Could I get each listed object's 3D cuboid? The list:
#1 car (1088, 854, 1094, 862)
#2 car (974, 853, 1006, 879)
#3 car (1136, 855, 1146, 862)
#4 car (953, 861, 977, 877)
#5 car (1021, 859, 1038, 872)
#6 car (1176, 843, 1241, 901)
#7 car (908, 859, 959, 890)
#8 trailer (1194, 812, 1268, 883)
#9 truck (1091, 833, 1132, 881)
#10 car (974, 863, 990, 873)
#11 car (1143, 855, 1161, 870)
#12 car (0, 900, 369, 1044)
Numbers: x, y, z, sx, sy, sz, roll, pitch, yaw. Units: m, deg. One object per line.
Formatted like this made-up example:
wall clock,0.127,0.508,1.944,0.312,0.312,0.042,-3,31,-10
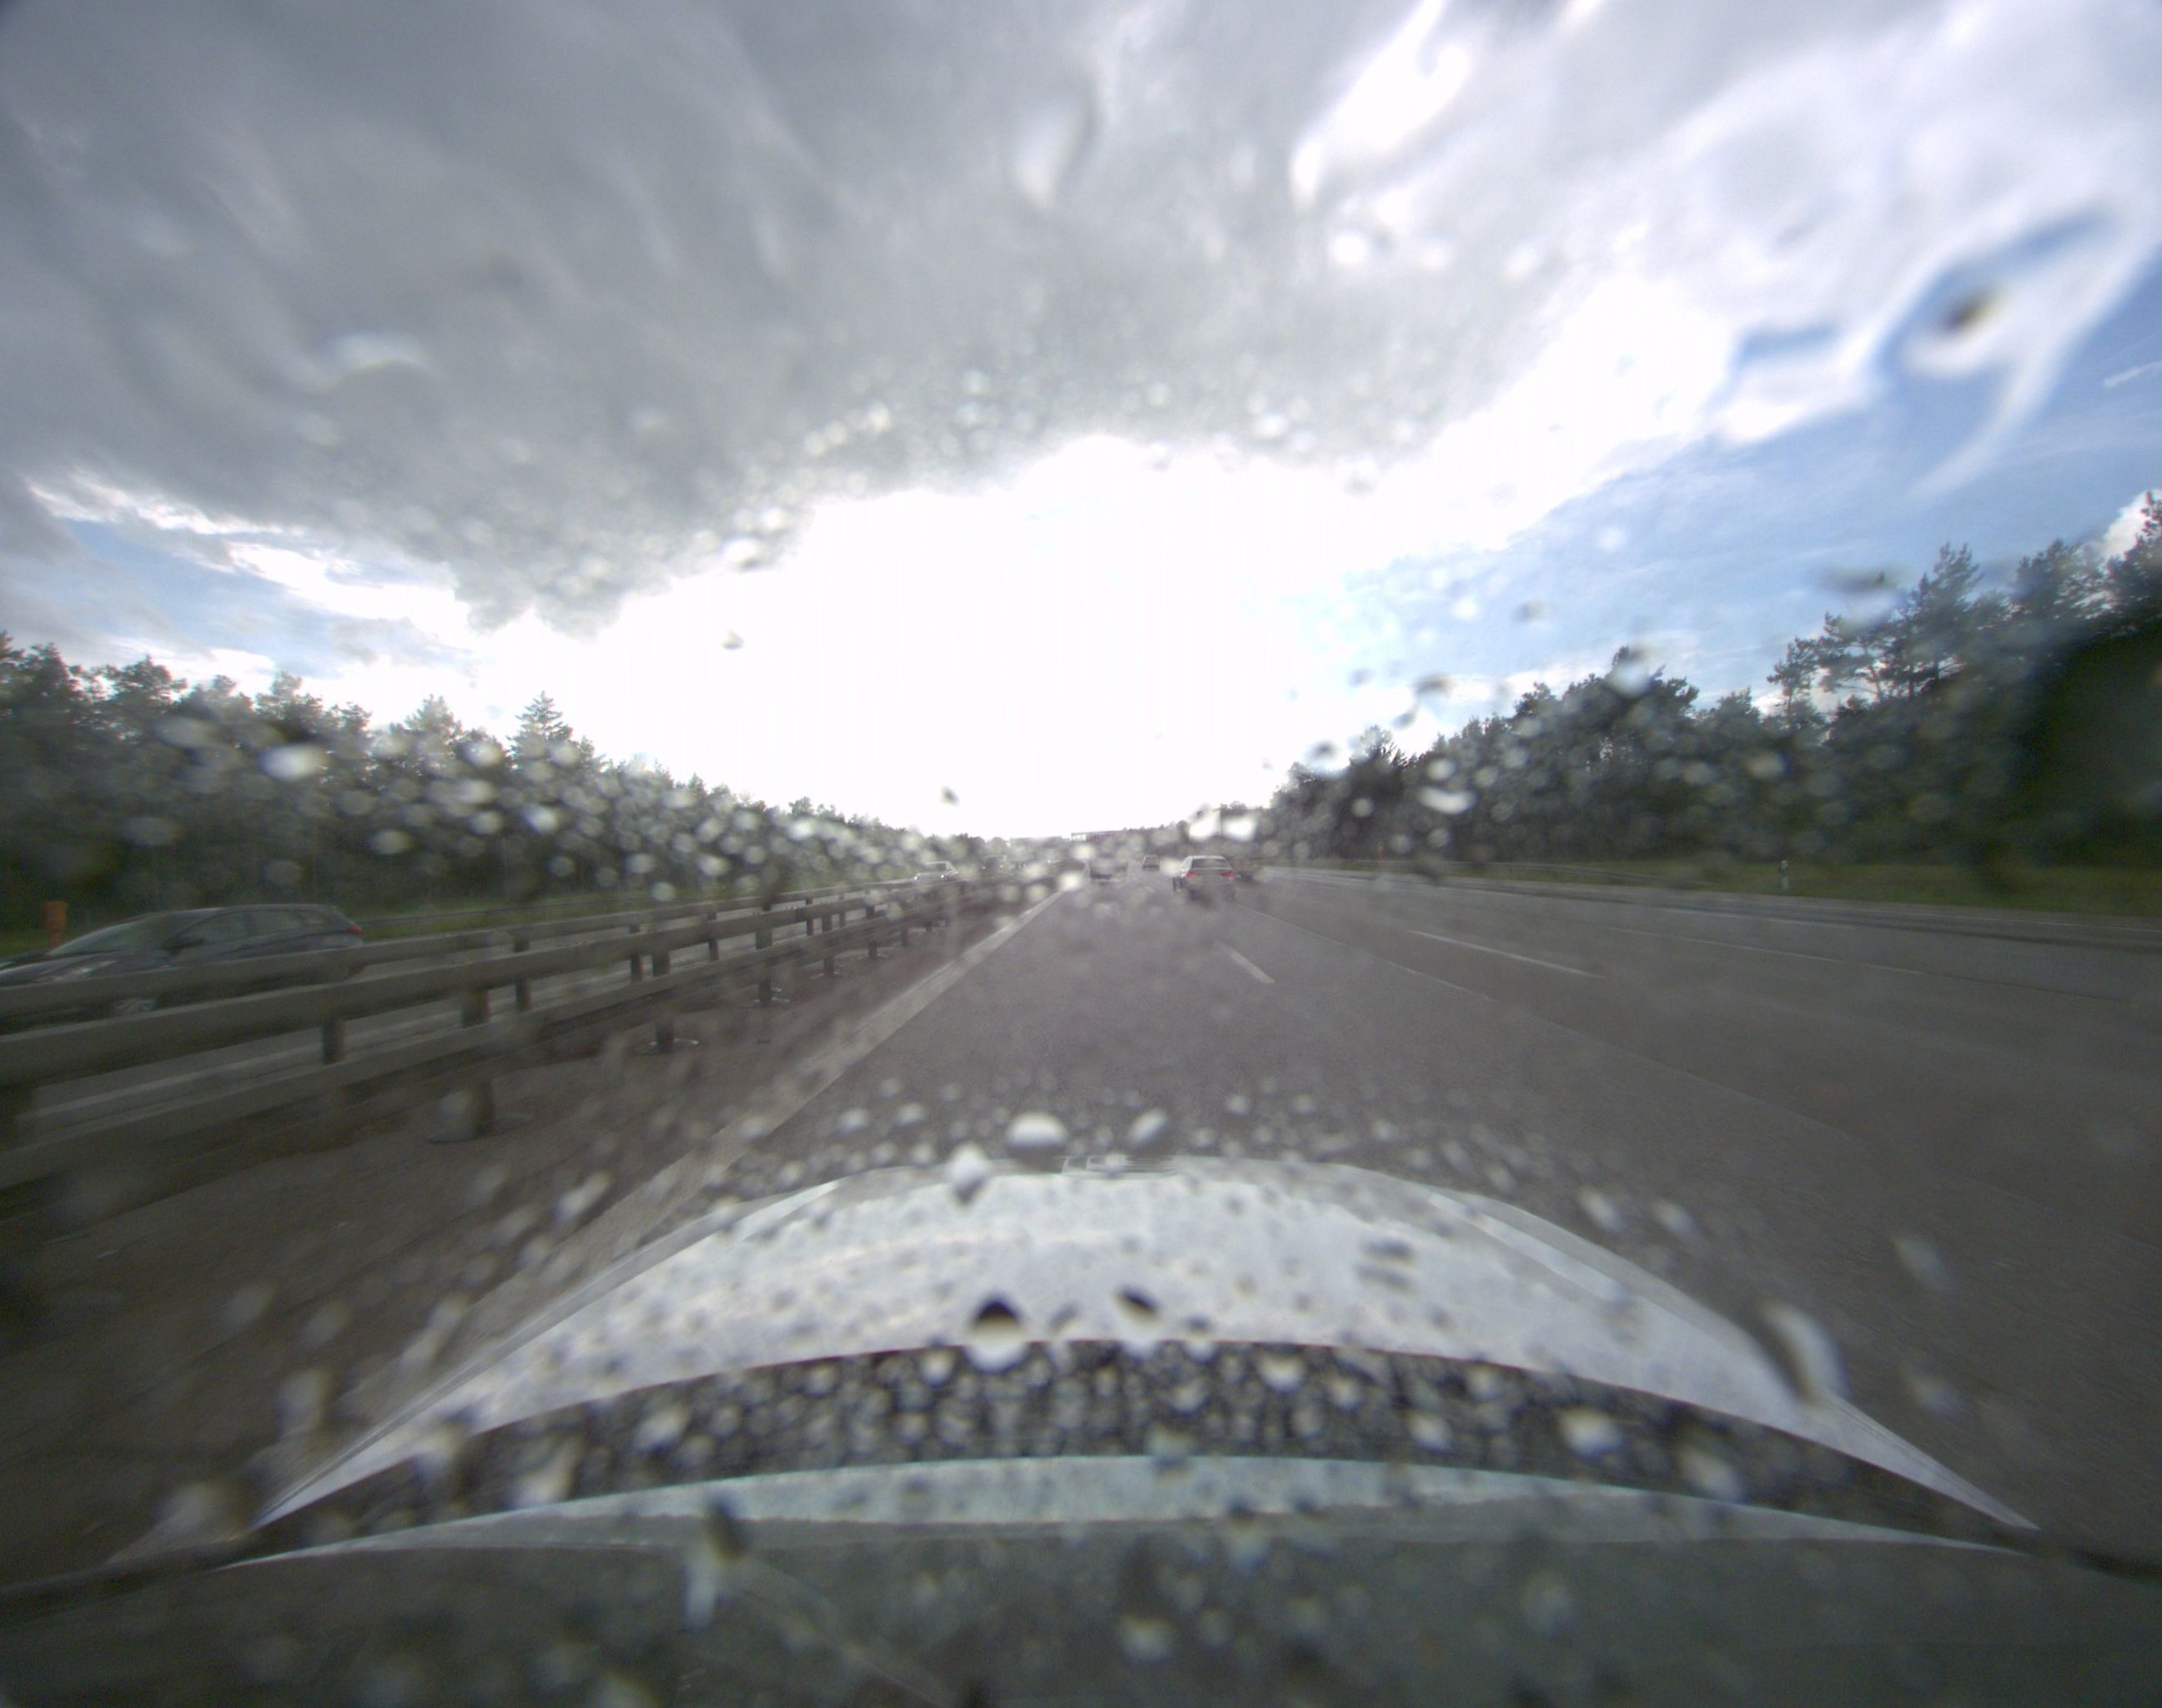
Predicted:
car,2.648,0.959,215.352,1.612,2.013,3.999,0,0,0
car,-7.626,0.970,68.932,1.986,2.013,4.627,-2,0,1
car,13.356,1.013,181.415,1.735,1.688,3.999,-1,0,0
car,-11.464,1.458,80.601,1.692,1.488,4.001,-2,0,1
car,-6.649,1.516,105.914,1.764,1.539,4.001,-2,0,1
car,4.551,0.586,29.638,2.067,1.885,5.021,-2,0,7
car,-8.170,1.109,45.454,1.853,1.589,4.492,-2,0,1
trailer,9.388,-0.384,52.729,2.316,4.001,13.409,0,0,0
truck,1.720,0.167,46.136,2.129,2.489,5.316,-1,0,2
car,-14.509,2.009,119.217,1.692,1.358,4.258,-2,0,1
car,7.465,0.871,85.817,1.823,1.466,4.005,-1,0,4
car,-12.970,1.538,11.568,1.805,1.422,4.238,-4,0,1
